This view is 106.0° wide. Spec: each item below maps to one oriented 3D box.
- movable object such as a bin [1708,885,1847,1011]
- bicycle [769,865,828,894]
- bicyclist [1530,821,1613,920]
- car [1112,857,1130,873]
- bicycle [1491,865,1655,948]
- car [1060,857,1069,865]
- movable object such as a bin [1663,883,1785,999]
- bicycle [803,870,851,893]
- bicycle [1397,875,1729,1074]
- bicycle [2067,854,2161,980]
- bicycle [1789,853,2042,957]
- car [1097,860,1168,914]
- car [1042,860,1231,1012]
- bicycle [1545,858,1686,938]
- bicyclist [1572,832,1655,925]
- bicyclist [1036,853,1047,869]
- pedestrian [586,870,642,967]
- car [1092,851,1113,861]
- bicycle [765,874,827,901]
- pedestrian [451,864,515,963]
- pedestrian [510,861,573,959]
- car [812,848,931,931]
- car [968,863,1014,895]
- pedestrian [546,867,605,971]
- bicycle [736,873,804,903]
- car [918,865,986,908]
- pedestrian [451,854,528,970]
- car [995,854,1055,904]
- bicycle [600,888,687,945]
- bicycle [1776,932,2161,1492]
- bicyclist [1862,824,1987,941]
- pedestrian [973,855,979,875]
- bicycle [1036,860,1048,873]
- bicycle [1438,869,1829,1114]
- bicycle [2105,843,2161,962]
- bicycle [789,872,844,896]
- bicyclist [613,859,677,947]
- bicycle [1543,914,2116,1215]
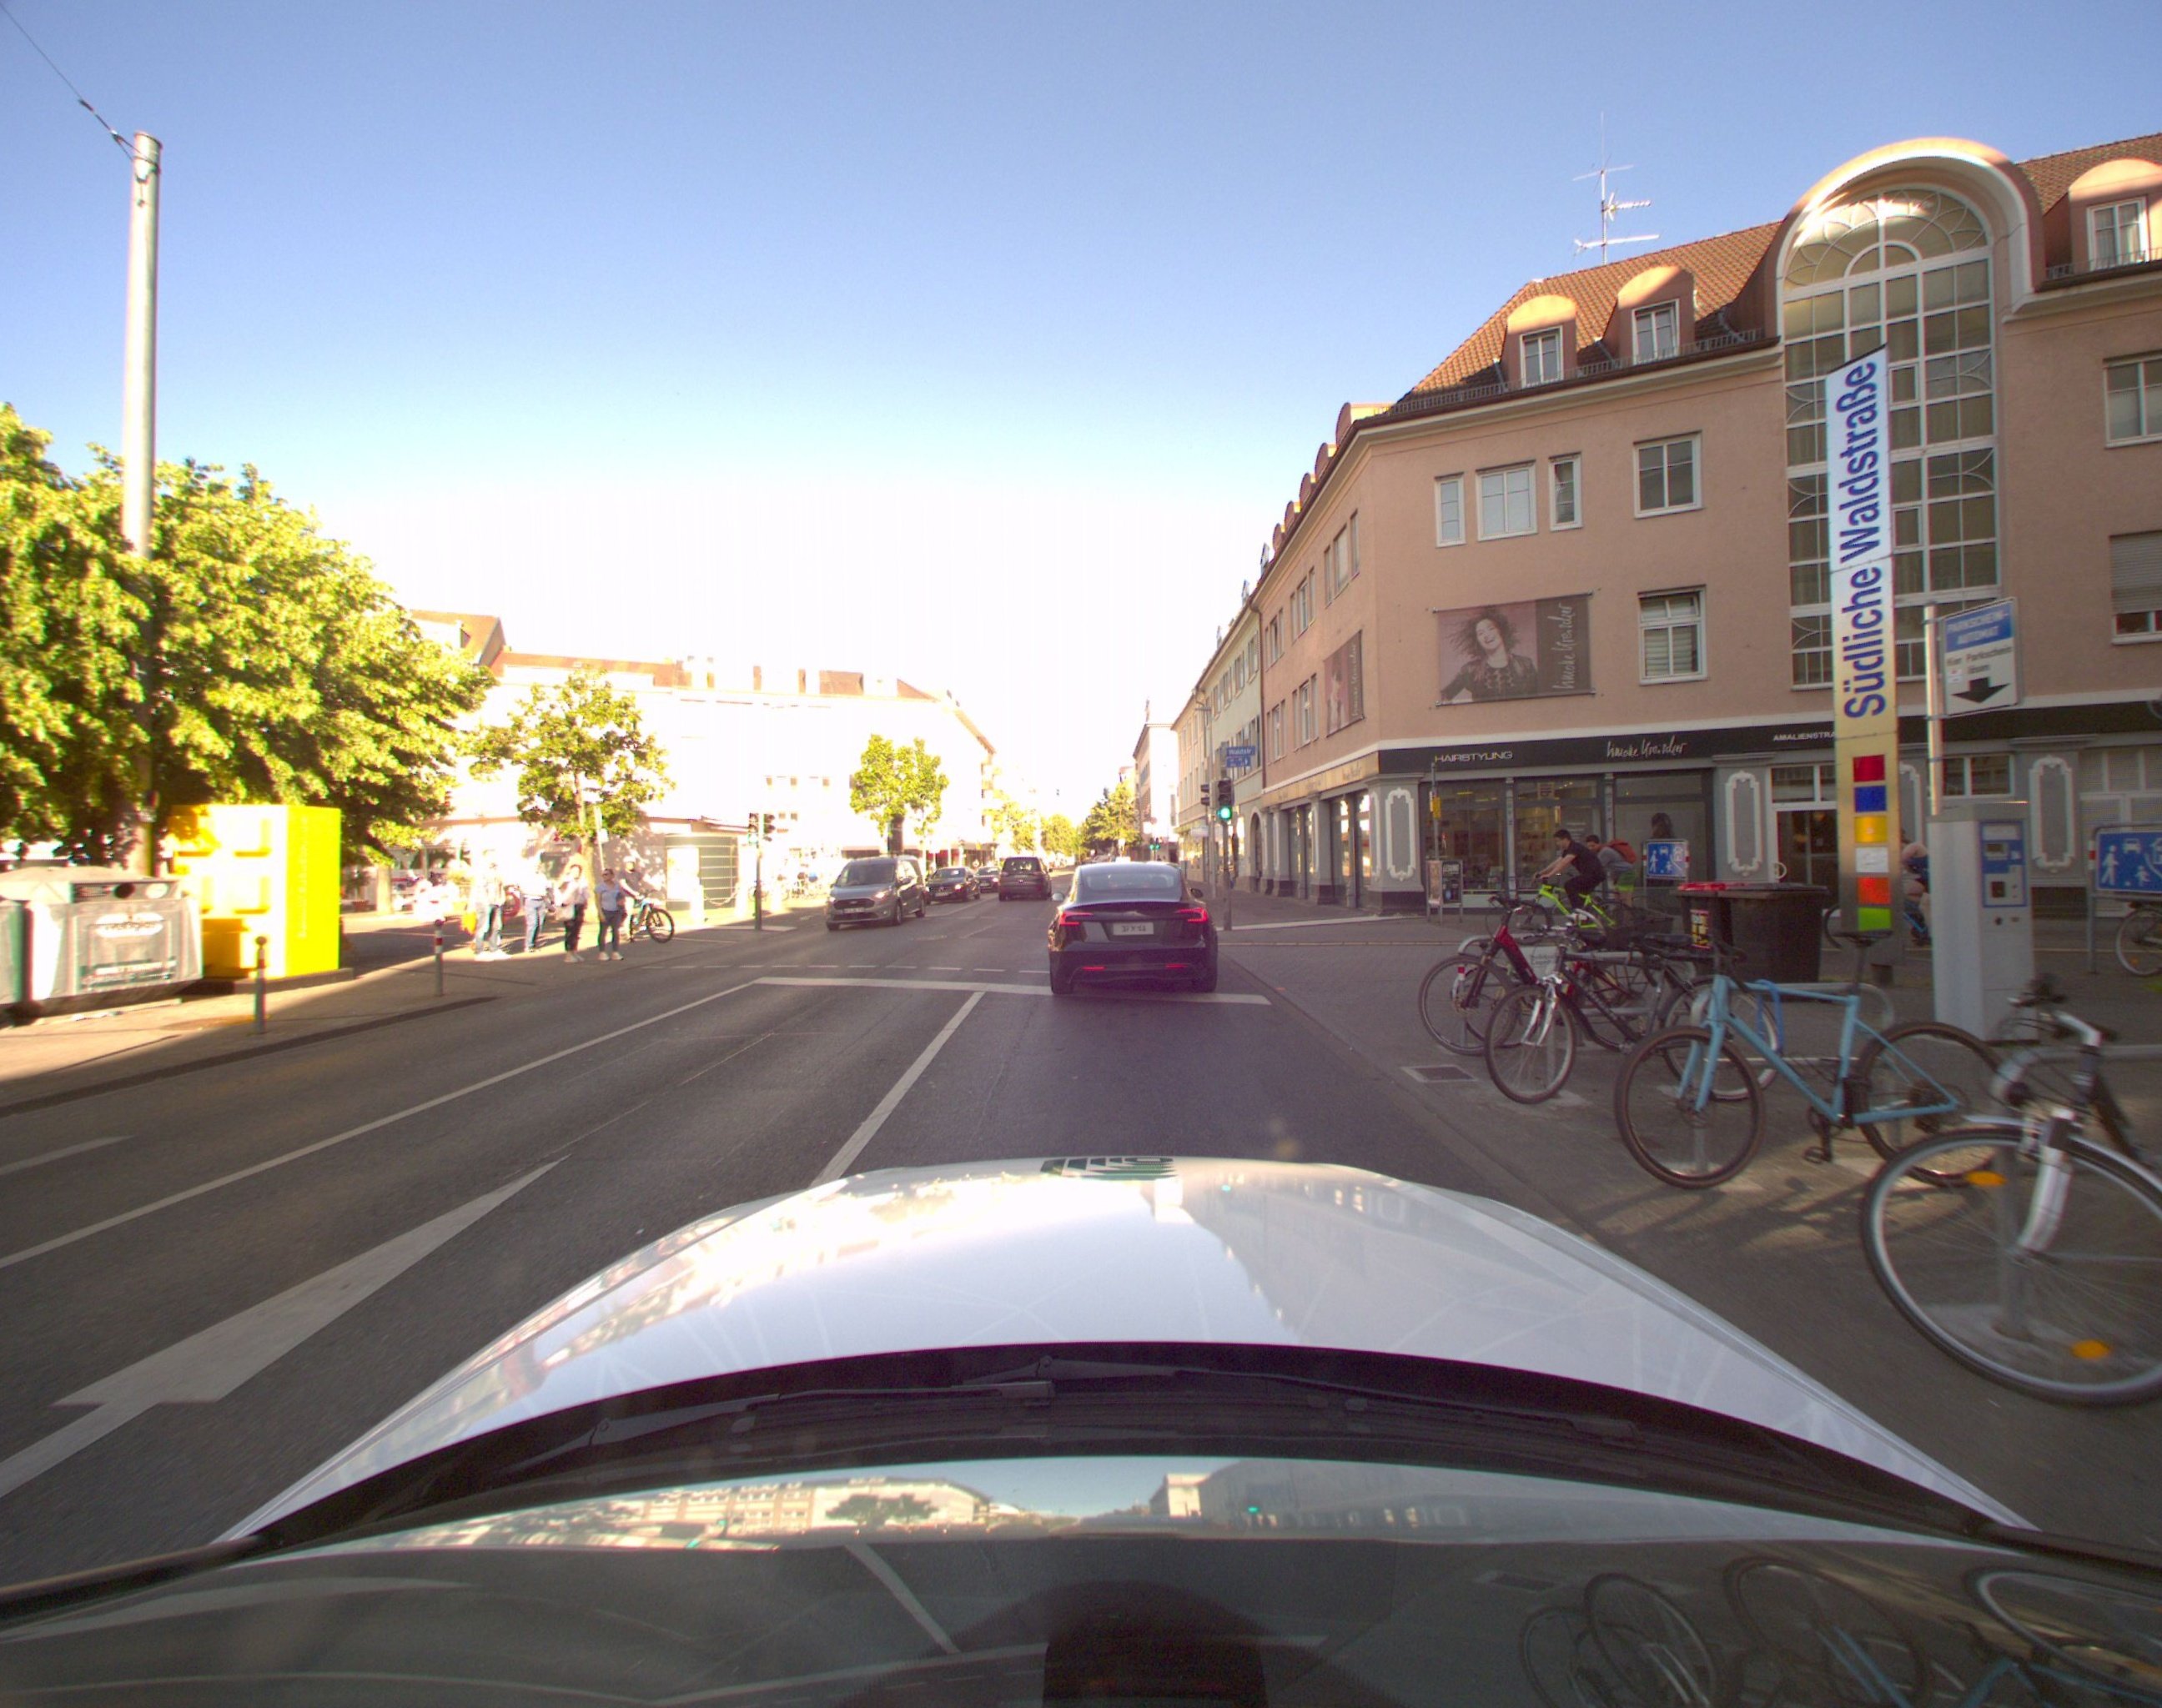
[{"bbox_3d":[6.424,0.848,7.541,0.750,1.092,0.628,0,0,3],"label":"movable object such as a bin"},{"bbox_3d":[-13.368,1.206,38.606,2.472,1.324,0.921,-1,0,-4],"label":"bicycle"},{"bbox_3d":[7.301,0.241,12.163,0.915,1.414,0.810,-1,0,21],"label":"bicyclist"},{"bbox_3d":[4.517,1.226,91.992,1.986,1.629,4.001,-1,0,2],"label":"car"},{"bbox_3d":[7.283,0.779,12.172,1.951,1.149,0.795,-2,-1,20],"label":"bicycle"},{"bbox_3d":[-3.573,1.593,178.520,1.988,1.637,3.998,-1,0,-1],"label":"car"},{"bbox_3d":[6.430,0.850,8.179,0.730,1.092,0.628,0,0,3],"label":"movable object such as a bin"},{"bbox_3d":[-13.651,1.454,43.799,2.319,1.156,0.841,-1,0,-4],"label":"bicycle"},{"bbox_3d":[3.392,0.837,5.911,1.851,1.258,0.834,-3,0,7],"label":"bicycle"},{"bbox_3d":[10.709,0.611,7.745,0.653,1.199,2.223,-1,0,20],"label":"bicycle"},{"bbox_3d":[10.607,0.626,10.480,2.151,1.222,0.685,-1,0,33],"label":"bicycle"},{"bbox_3d":[1.532,0.967,25.785,1.987,1.512,4.175,-1,0,0],"label":"car"},{"bbox_3d":[0.608,0.831,10.076,1.841,1.455,4.001,-1,0,1],"label":"car"},{"bbox_3d":[8.562,0.693,13.127,1.778,1.222,0.684,-1,0,20],"label":"bicycle"},{"bbox_3d":[8.558,0.388,13.128,0.938,1.449,0.810,-1,0,20],"label":"bicyclist"},{"bbox_3d":[-4.180,0.730,87.032,1.124,1.628,0.965,-1,0,-2],"label":"bicyclist"},{"bbox_3d":[-8.378,1.135,14.625,0.676,1.662,0.625,-1,0,36],"label":"pedestrian"},{"bbox_3d":[4.127,0.395,158.854,3.974,2.013,2.000,-1,0,0],"label":"car"},{"bbox_3d":[-12.826,1.512,36.662,2.453,1.156,0.842,-1,0,0],"label":"bicycle"},{"bbox_3d":[-11.163,1.092,15.195,0.885,1.768,0.657,-1,0,32],"label":"pedestrian"},{"bbox_3d":[-10.523,1.067,15.900,0.835,1.827,0.747,-1,0,35],"label":"pedestrian"},{"bbox_3d":[-5.437,0.836,21.783,1.828,1.845,4.673,-5,0,0],"label":"car"},{"bbox_3d":[-4.849,1.314,44.515,1.988,1.436,4.672,-5,0,-1],"label":"car"},{"bbox_3d":[-8.762,1.100,14.119,0.541,1.728,0.679,-1,0,34],"label":"pedestrian"},{"bbox_3d":[-13.024,1.419,34.132,2.498,1.156,0.842,-1,0,0],"label":"bicycle"},{"bbox_3d":[-5.232,1.273,33.651,1.988,1.410,4.672,-5,0,-1],"label":"car"},{"bbox_3d":[-10.254,0.978,14.134,0.823,1.955,0.712,0,0,13],"label":"pedestrian"},{"bbox_3d":[-2.140,0.911,32.404,1.987,1.772,4.728,-2,0,0],"label":"car"},{"bbox_3d":[-9.555,1.341,17.755,2.042,1.139,0.541,0,0,25],"label":"bicycle"},{"bbox_3d":[3.245,0.909,2.337,1.713,1.268,0.792,-3,0,7],"label":"bicycle"},{"bbox_3d":[10.717,0.347,10.389,0.914,1.414,0.811,-1,0,32],"label":"bicyclist"},{"bbox_3d":[-10.629,1.093,82.576,0.573,2.014,0.827,0,-1,-3],"label":"pedestrian"},{"bbox_3d":[-4.155,1.346,86.937,1.108,1.344,3.998,-1,0,-1],"label":"bicycle"},{"bbox_3d":[3.194,0.774,4.870,1.738,1.267,0.782,-3,0,4],"label":"bicycle"},{"bbox_3d":[12.919,0.524,8.859,2.118,1.316,0.588,-1,0,31],"label":"bicycle"},{"bbox_3d":[-13.425,1.521,41.365,2.528,1.156,0.841,-1,0,-4],"label":"bicycle"},{"bbox_3d":[-9.463,1.042,17.683,0.941,1.838,0.793,0,0,24],"label":"bicyclist"},{"bbox_3d":[3.217,0.870,3.689,1.788,1.124,0.783,-1,0,7],"label":"bicycle"}]
